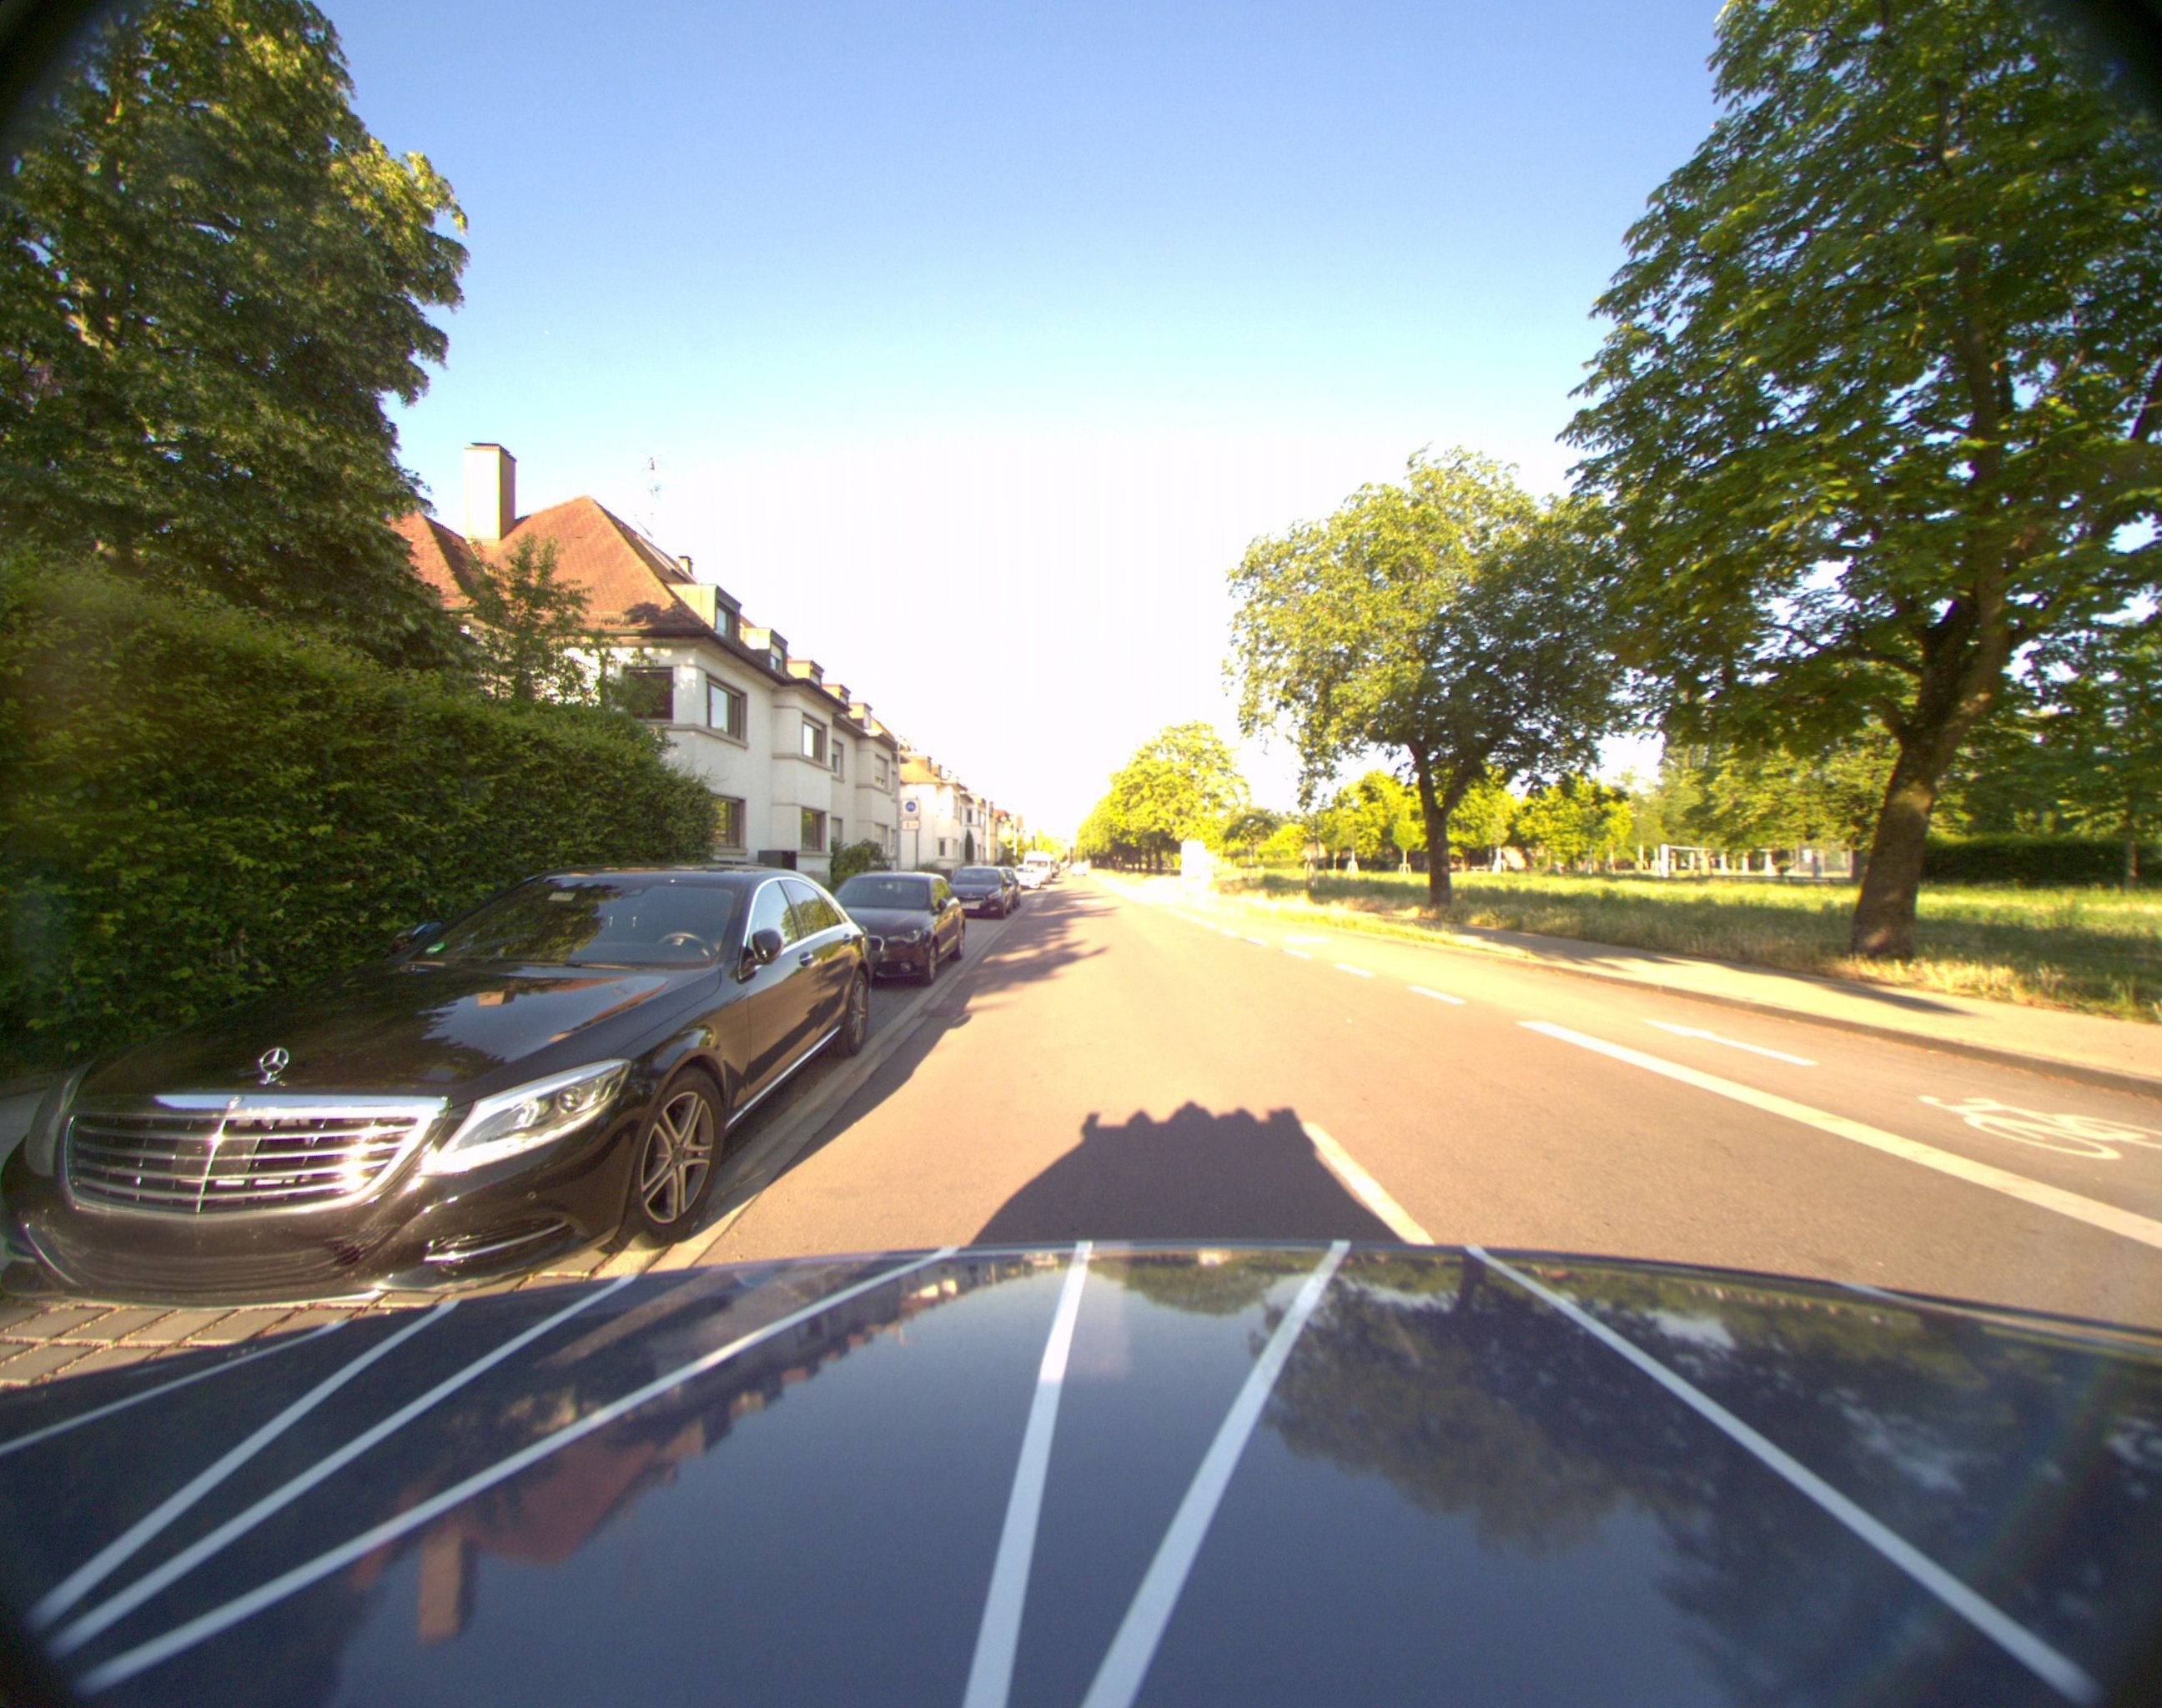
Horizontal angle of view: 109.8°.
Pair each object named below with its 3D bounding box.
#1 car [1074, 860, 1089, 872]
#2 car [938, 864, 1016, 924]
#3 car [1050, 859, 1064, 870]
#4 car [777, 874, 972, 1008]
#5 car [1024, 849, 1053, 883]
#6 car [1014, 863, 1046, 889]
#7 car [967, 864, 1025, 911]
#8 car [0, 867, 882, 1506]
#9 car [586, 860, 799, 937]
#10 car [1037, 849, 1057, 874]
[{"bbox_3d":[0.084,1.631,104.448,1.896,1.667,4.424,-1,0,-1],"label":"car"},{"bbox_3d":[-2.931,1.078,22.245,1.751,1.466,4.255,3,0,-2],"label":"car"},{"bbox_3d":[-3.678,1.593,116.672,1.974,1.630,4.000,2,-1,-1],"label":"car"},{"bbox_3d":[-2.660,1.055,10.726,1.645,1.419,3.936,2,0,0],"label":"car"},{"bbox_3d":[-3.303,0.923,59.647,2.135,2.503,5.507,1,0,-2],"label":"car"},{"bbox_3d":[-3.106,1.327,46.702,1.787,1.498,4.233,-1,0,-2],"label":"car"},{"bbox_3d":[-3.013,1.156,27.576,1.723,1.463,3.983,2,0,-2],"label":"car"},{"bbox_3d":[-2.634,0.895,4.355,1.864,1.533,4.872,1,0,-3],"label":"car"},{"bbox_3d":[-8.233,0.928,16.388,3.644,1.487,1.780,2,0,-5],"label":"car"},{"bbox_3d":[-4.008,0.897,90.247,2.134,2.837,5.987,-1,0,-1],"label":"car"}]
